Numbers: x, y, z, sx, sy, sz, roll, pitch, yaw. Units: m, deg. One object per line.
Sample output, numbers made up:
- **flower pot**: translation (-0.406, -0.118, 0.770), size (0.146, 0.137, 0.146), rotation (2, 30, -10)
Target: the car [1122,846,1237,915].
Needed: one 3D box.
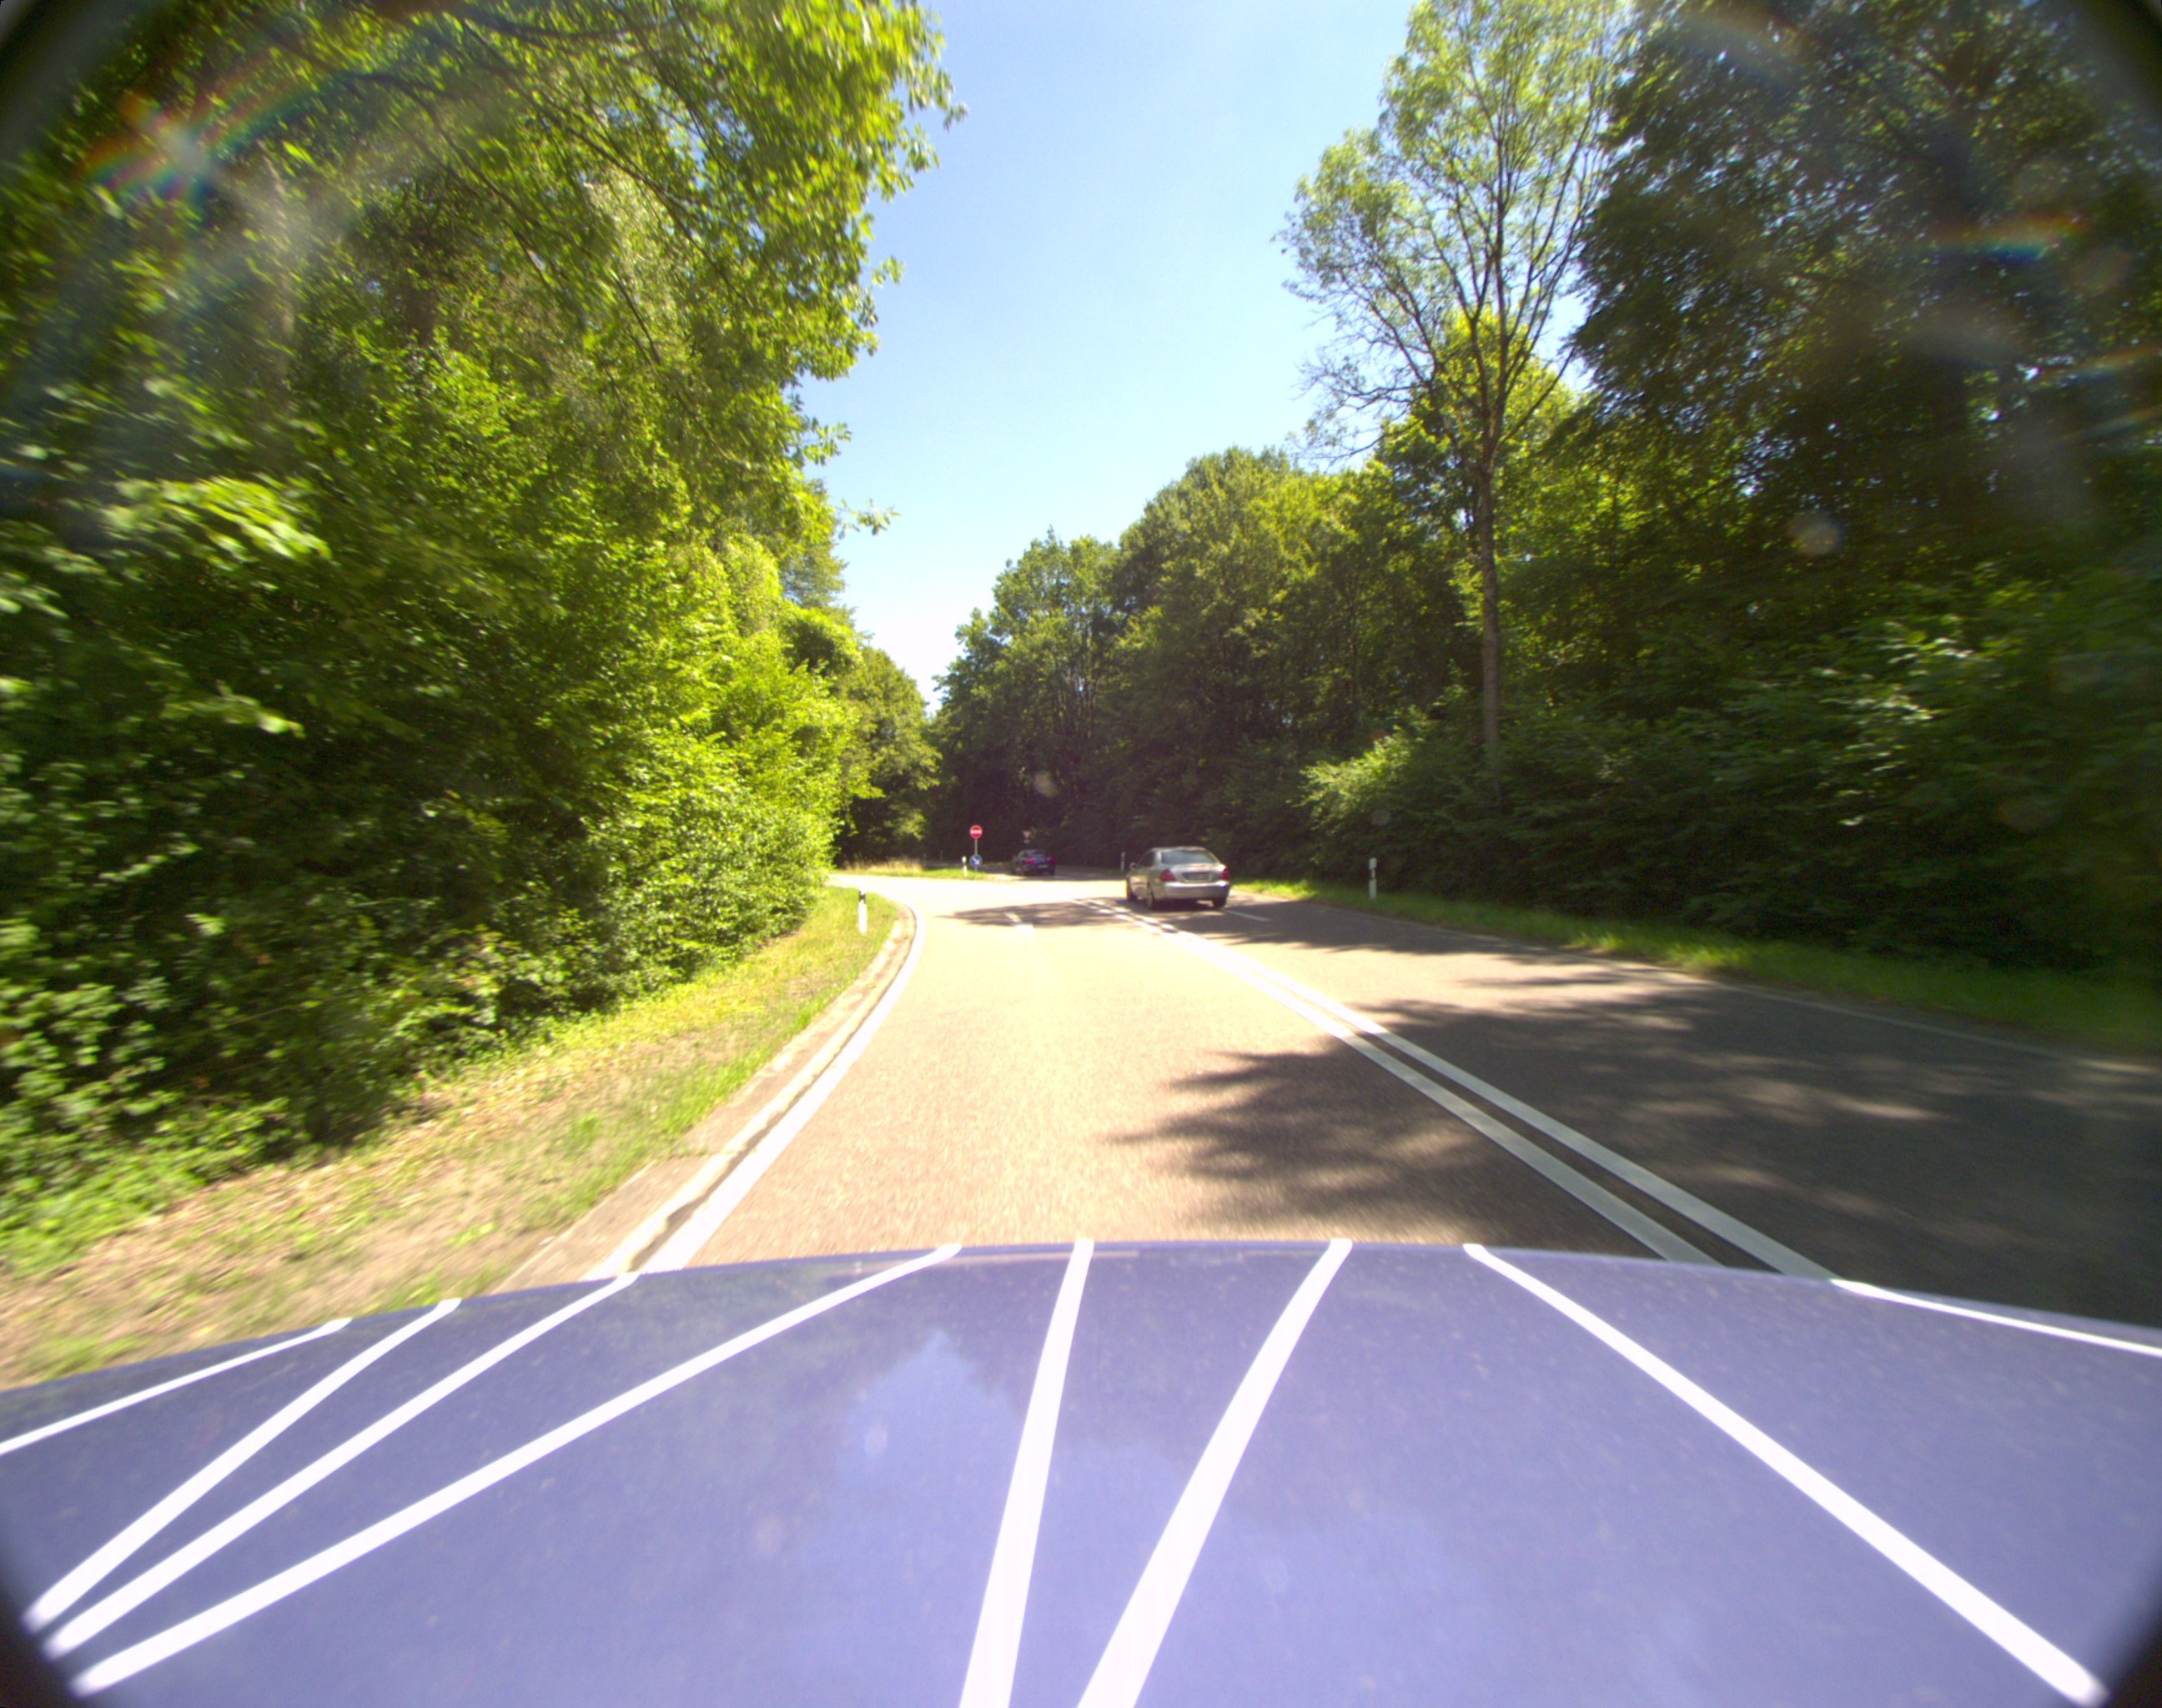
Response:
- **car**: translation (2.330, 0.561, 19.276), size (1.851, 1.477, 4.761), rotation (-1, 1, -6)

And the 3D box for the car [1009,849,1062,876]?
- **car**: translation (-2.605, 0.420, 42.544), size (1.796, 1.398, 4.352), rotation (-1, 1, -20)
